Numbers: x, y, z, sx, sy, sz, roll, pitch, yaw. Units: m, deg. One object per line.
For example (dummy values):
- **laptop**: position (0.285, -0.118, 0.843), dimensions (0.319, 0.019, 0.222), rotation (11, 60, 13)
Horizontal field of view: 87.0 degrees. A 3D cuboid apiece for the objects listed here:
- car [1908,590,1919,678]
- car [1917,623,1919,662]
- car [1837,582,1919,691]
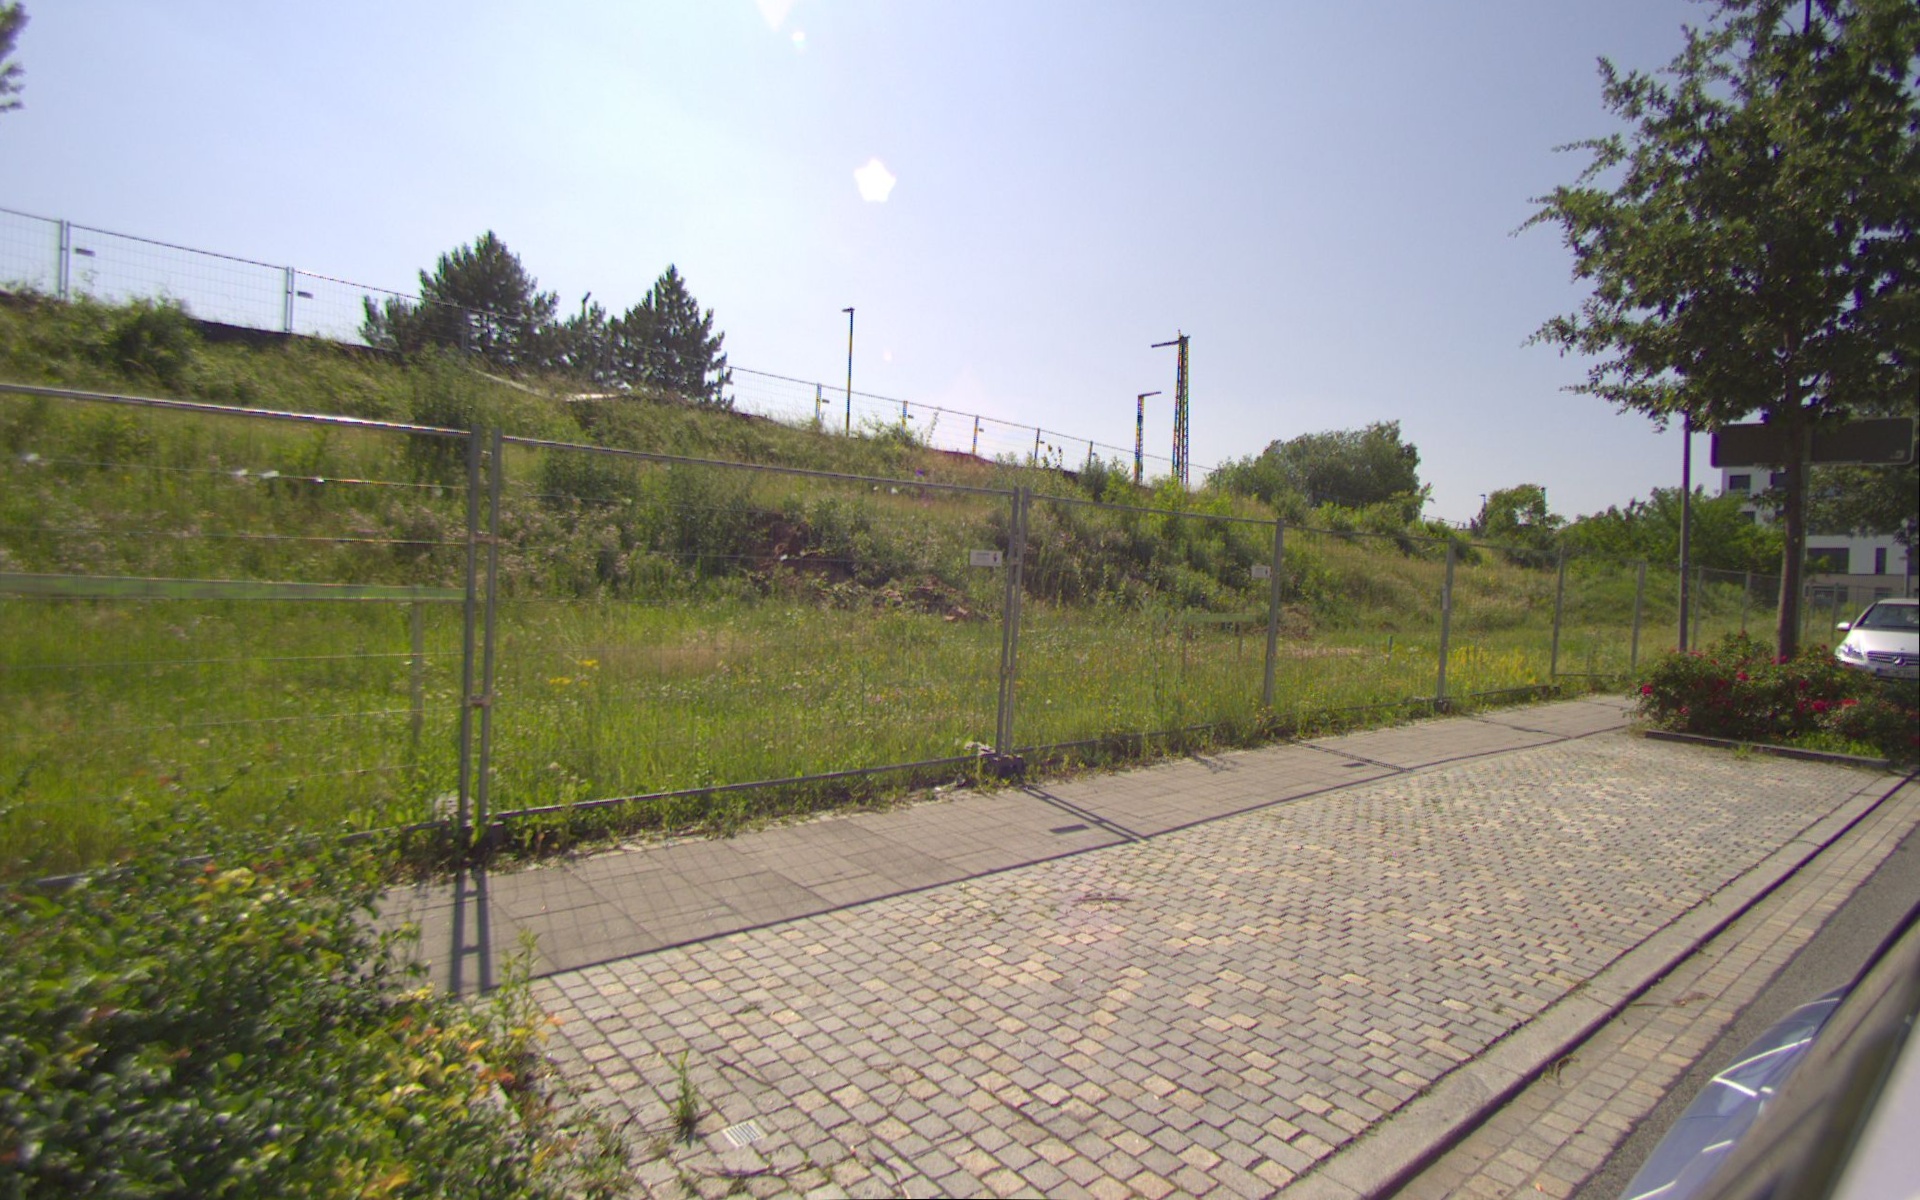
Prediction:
- **car**: position (20.056, 0.723, 19.731), dimensions (3.930, 1.636, 1.847), rotation (1, 3, -41)
- **car**: position (25.220, 0.765, 25.002), dimensions (3.930, 1.636, 1.846), rotation (1, 3, -41)
- **car**: position (16.585, 0.631, 17.216), dimensions (4.293, 1.635, 1.847), rotation (1, 3, -41)
